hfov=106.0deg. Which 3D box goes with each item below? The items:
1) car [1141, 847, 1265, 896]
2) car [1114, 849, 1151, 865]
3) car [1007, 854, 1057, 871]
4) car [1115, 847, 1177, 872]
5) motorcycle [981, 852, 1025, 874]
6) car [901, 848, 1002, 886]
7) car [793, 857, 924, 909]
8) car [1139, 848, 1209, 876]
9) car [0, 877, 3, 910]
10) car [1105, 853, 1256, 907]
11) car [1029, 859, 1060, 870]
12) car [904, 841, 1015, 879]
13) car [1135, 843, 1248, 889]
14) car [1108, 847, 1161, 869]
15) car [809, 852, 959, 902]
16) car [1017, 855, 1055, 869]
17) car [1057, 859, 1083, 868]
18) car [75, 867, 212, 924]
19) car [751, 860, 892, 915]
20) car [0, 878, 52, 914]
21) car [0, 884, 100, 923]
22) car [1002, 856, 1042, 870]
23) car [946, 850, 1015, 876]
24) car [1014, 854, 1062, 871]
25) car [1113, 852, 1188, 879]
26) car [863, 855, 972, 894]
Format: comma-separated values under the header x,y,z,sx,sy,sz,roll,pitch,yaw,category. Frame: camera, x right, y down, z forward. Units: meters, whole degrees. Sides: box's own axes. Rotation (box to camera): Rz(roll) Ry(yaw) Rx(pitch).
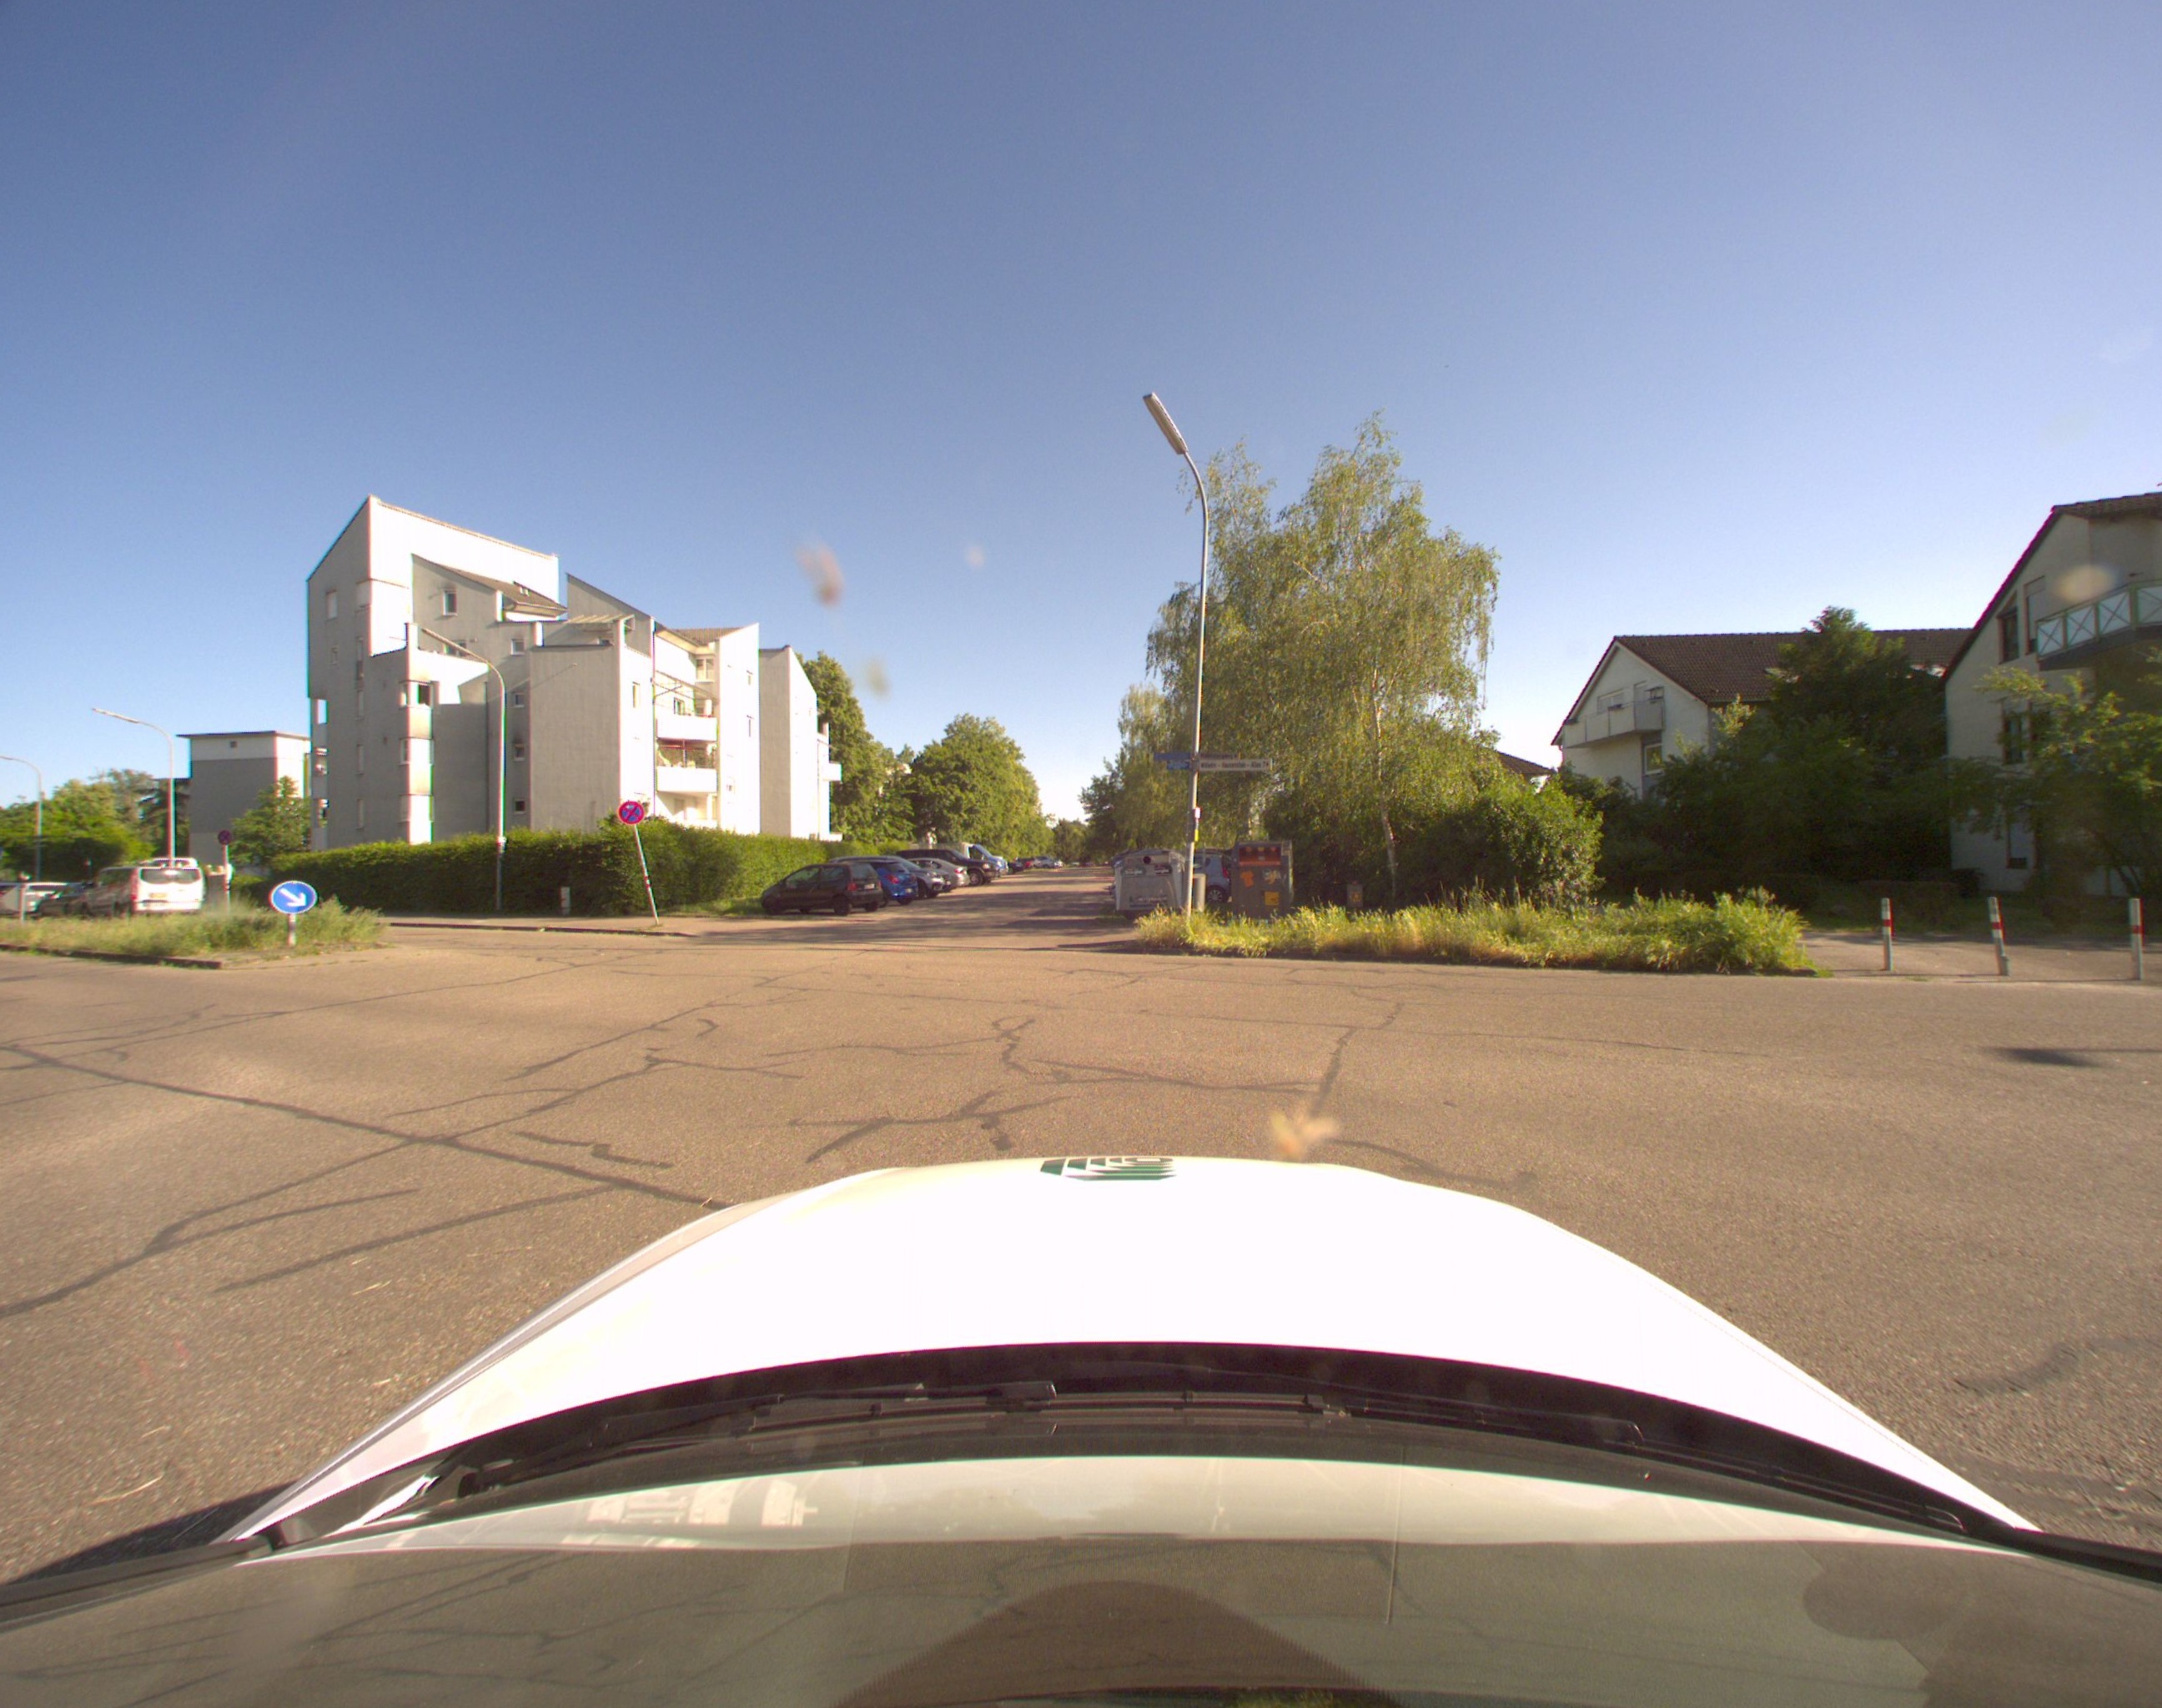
x,y,z,sx,sy,sz,roll,pitch,yaw,category
4.207,0.572,28.562,4.043,1.603,1.789,0,1,-3,car
5.753,0.304,90.449,3.967,1.708,1.800,0,-1,5,car
-3.988,0.701,67.157,3.925,1.334,1.848,-1,0,1,car
4.300,0.391,53.351,3.967,1.585,1.800,0,-1,5,car
-5.840,0.645,61.349,3.177,1.596,0.924,-1,0,3,motorcycle
-6.327,0.622,39.987,4.498,1.771,1.851,-1,0,7,car
-7.084,0.917,26.024,3.652,1.496,1.658,-2,0,15,car
5.415,0.495,47.513,3.967,1.585,1.800,0,-1,5,car
-56.223,2.016,40.796,4.320,1.666,1.927,-2,-1,27,car
2.846,0.692,23.093,4.022,1.439,1.641,0,0,15,car
-4.812,1.394,107.340,3.925,1.334,1.848,-1,0,1,car
-7.214,0.357,48.915,6.235,2.147,2.411,-1,0,0,car
4.219,0.427,31.526,4.096,1.706,1.788,0,1,-4,car
4.116,0.296,61.911,3.967,1.585,1.800,0,-1,5,car
-7.200,0.823,29.977,4.964,1.654,1.788,-2,0,7,car
-4.844,0.854,87.782,3.925,1.334,1.848,-1,0,1,car
-1.618,1.407,116.783,3.631,1.212,1.848,-1,0,1,car
-34.006,1.479,29.537,4.892,1.912,2.012,-2,-1,25,car
-7.462,0.938,23.490,3.493,1.466,1.712,-1,0,19,car
-48.331,1.882,36.501,4.320,1.488,1.927,-2,-1,27,car
-43.284,2.031,34.101,4.320,1.488,1.927,-2,-1,27,car
-6.120,0.896,84.476,3.925,1.334,1.848,-1,0,1,car
-7.045,0.617,57.204,4.503,1.771,1.849,-1,0,3,car
-3.679,0.712,70.226,3.925,1.334,1.848,-1,0,1,car
3.811,0.617,44.362,3.967,1.401,1.800,0,-1,5,car
-6.763,0.843,33.960,4.130,1.455,1.619,-2,-1,0,car
